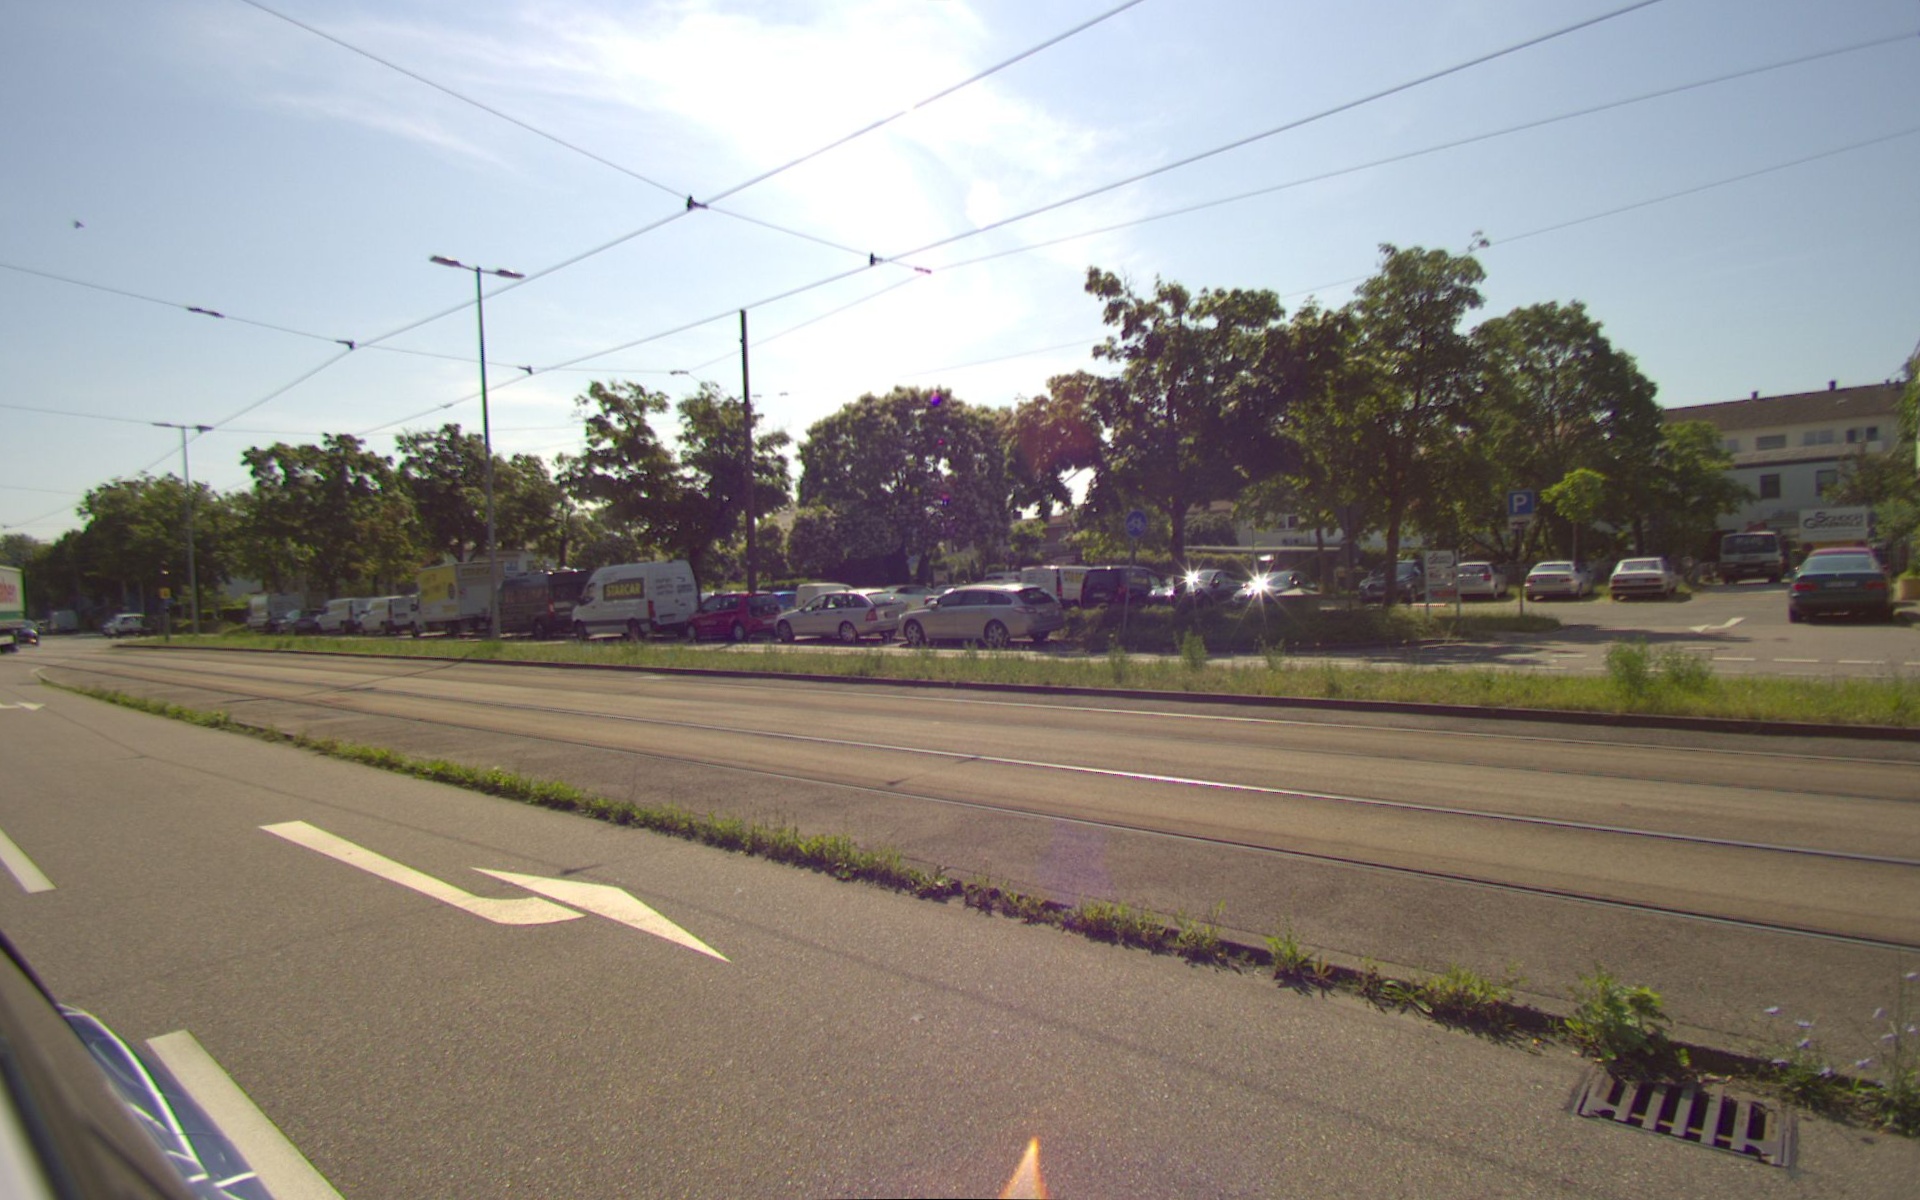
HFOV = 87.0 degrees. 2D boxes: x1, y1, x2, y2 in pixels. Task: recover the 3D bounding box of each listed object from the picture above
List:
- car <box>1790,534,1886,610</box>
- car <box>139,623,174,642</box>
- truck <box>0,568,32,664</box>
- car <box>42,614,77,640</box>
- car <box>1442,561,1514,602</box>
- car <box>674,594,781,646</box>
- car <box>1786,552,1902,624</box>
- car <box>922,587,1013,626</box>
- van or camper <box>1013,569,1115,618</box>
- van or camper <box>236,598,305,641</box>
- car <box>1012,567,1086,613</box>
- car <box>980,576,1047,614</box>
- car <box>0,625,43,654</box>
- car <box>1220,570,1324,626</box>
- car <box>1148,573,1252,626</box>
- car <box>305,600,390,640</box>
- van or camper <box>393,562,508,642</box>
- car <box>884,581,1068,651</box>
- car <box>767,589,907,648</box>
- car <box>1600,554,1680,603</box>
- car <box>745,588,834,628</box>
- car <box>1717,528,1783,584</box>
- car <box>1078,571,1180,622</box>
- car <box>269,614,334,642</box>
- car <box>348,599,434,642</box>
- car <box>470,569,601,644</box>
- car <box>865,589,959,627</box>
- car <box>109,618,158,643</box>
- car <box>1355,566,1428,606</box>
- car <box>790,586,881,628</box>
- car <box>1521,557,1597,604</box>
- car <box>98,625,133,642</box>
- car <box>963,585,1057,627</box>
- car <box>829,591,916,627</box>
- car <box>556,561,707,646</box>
[{"bbox_3d":[22.358,-0.719,25.791,1.697,1.748,4.104,-2,1,41],"label":"car"},{"bbox_3d":[-66.161,2.716,83.355,4.082,1.461,1.598,-2,0,42],"label":"car"},{"bbox_3d":[-42.428,0.737,42.419,3.338,4.100,14.320,-3,1,-36],"label":"truck"},{"bbox_3d":[-102.494,3.075,115.190,6.083,2.670,1.991,-2,4,41],"label":"car"},{"bbox_3d":[20.148,-0.734,39.290,1.674,1.435,3.934,-2,0,39],"label":"car"},{"bbox_3d":[-7.351,0.631,31.845,3.673,1.501,1.279,-2,1,39],"label":"car"},{"bbox_3d":[18.823,-0.291,21.580,1.697,1.354,4.104,-2,1,41],"label":"car"},{"bbox_3d":[0.341,0.225,39.871,1.487,1.381,3.950,-2,0,37],"label":"car"},{"bbox_3d":[3.738,-0.252,35.864,1.872,1.574,3.952,-2,0,35],"label":"van or camper"},{"bbox_3d":[-43.875,1.293,64.374,6.146,2.533,2.233,-2,0,43],"label":"van or camper"},{"bbox_3d":[4.626,-0.521,52.312,1.908,2.216,3.950,-2,0,37],"label":"car"},{"bbox_3d":[3.113,-0.283,58.110,1.908,2.018,3.950,-2,0,37],"label":"car"},{"bbox_3d":[-53.267,2.219,57.114,3.997,1.475,1.737,-2,1,40],"label":"car"},{"bbox_3d":[9.538,-0.091,30.749,1.661,1.574,3.948,-2,0,39],"label":"car"},{"bbox_3d":[7.721,-0.042,32.335,1.661,1.574,3.948,-2,0,39],"label":"car"},{"bbox_3d":[-33.989,1.132,56.085,5.176,1.955,2.176,-2,2,37],"label":"car"},{"bbox_3d":[-23.098,0.146,45.690,6.771,3.265,2.173,-2,2,43],"label":"van or camper"},{"bbox_3d":[0.317,0.421,25.159,4.617,1.501,1.587,-2,2,43],"label":"car"},{"bbox_3d":[-3.540,0.527,28.563,4.349,1.501,1.278,-2,2,41],"label":"car"},{"bbox_3d":[23.593,-0.748,35.056,1.909,1.545,3.948,-2,0,39],"label":"car"},{"bbox_3d":[-7.927,0.365,47.373,1.662,1.707,3.946,-2,1,40],"label":"car"},{"bbox_3d":[34.069,-1.864,43.704,2.097,2.190,4.882,-2,1,38],"label":"car"},{"bbox_3d":[5.767,-0.154,34.213,1.661,1.574,3.948,-2,0,39],"label":"car"},{"bbox_3d":[-38.955,1.649,59.803,4.883,1.465,1.912,-2,2,41],"label":"car"},{"bbox_3d":[-29.033,1.046,51.578,5.184,1.955,2.173,-2,3,42],"label":"car"},{"bbox_3d":[-16.971,0.280,40.293,6.075,2.688,2.174,-2,2,41],"label":"car"},{"bbox_3d":[-1.933,0.318,41.516,1.658,1.381,3.949,-2,0,38],"label":"car"},{"bbox_3d":[-56.146,2.101,68.742,4.661,1.609,2.020,-2,-1,44],"label":"car"},{"bbox_3d":[17.272,-0.570,40.416,1.674,1.435,3.935,-2,0,38],"label":"car"},{"bbox_3d":[-5.557,0.279,45.459,1.662,1.707,3.946,-2,1,40],"label":"car"},{"bbox_3d":[22.016,-0.736,37.143,1.908,1.545,3.950,-2,0,38],"label":"car"},{"bbox_3d":[-79.143,3.155,94.814,4.453,1.446,1.658,-2,0,39],"label":"car"},{"bbox_3d":[1.913,0.203,37.338,1.486,1.381,3.950,-2,0,37],"label":"car"},{"bbox_3d":[-3.736,0.357,43.723,1.487,1.381,3.950,-2,0,37],"label":"car"},{"bbox_3d":[-11.660,0.167,35.649,5.976,2.650,2.173,-2,2,42],"label":"car"}]
